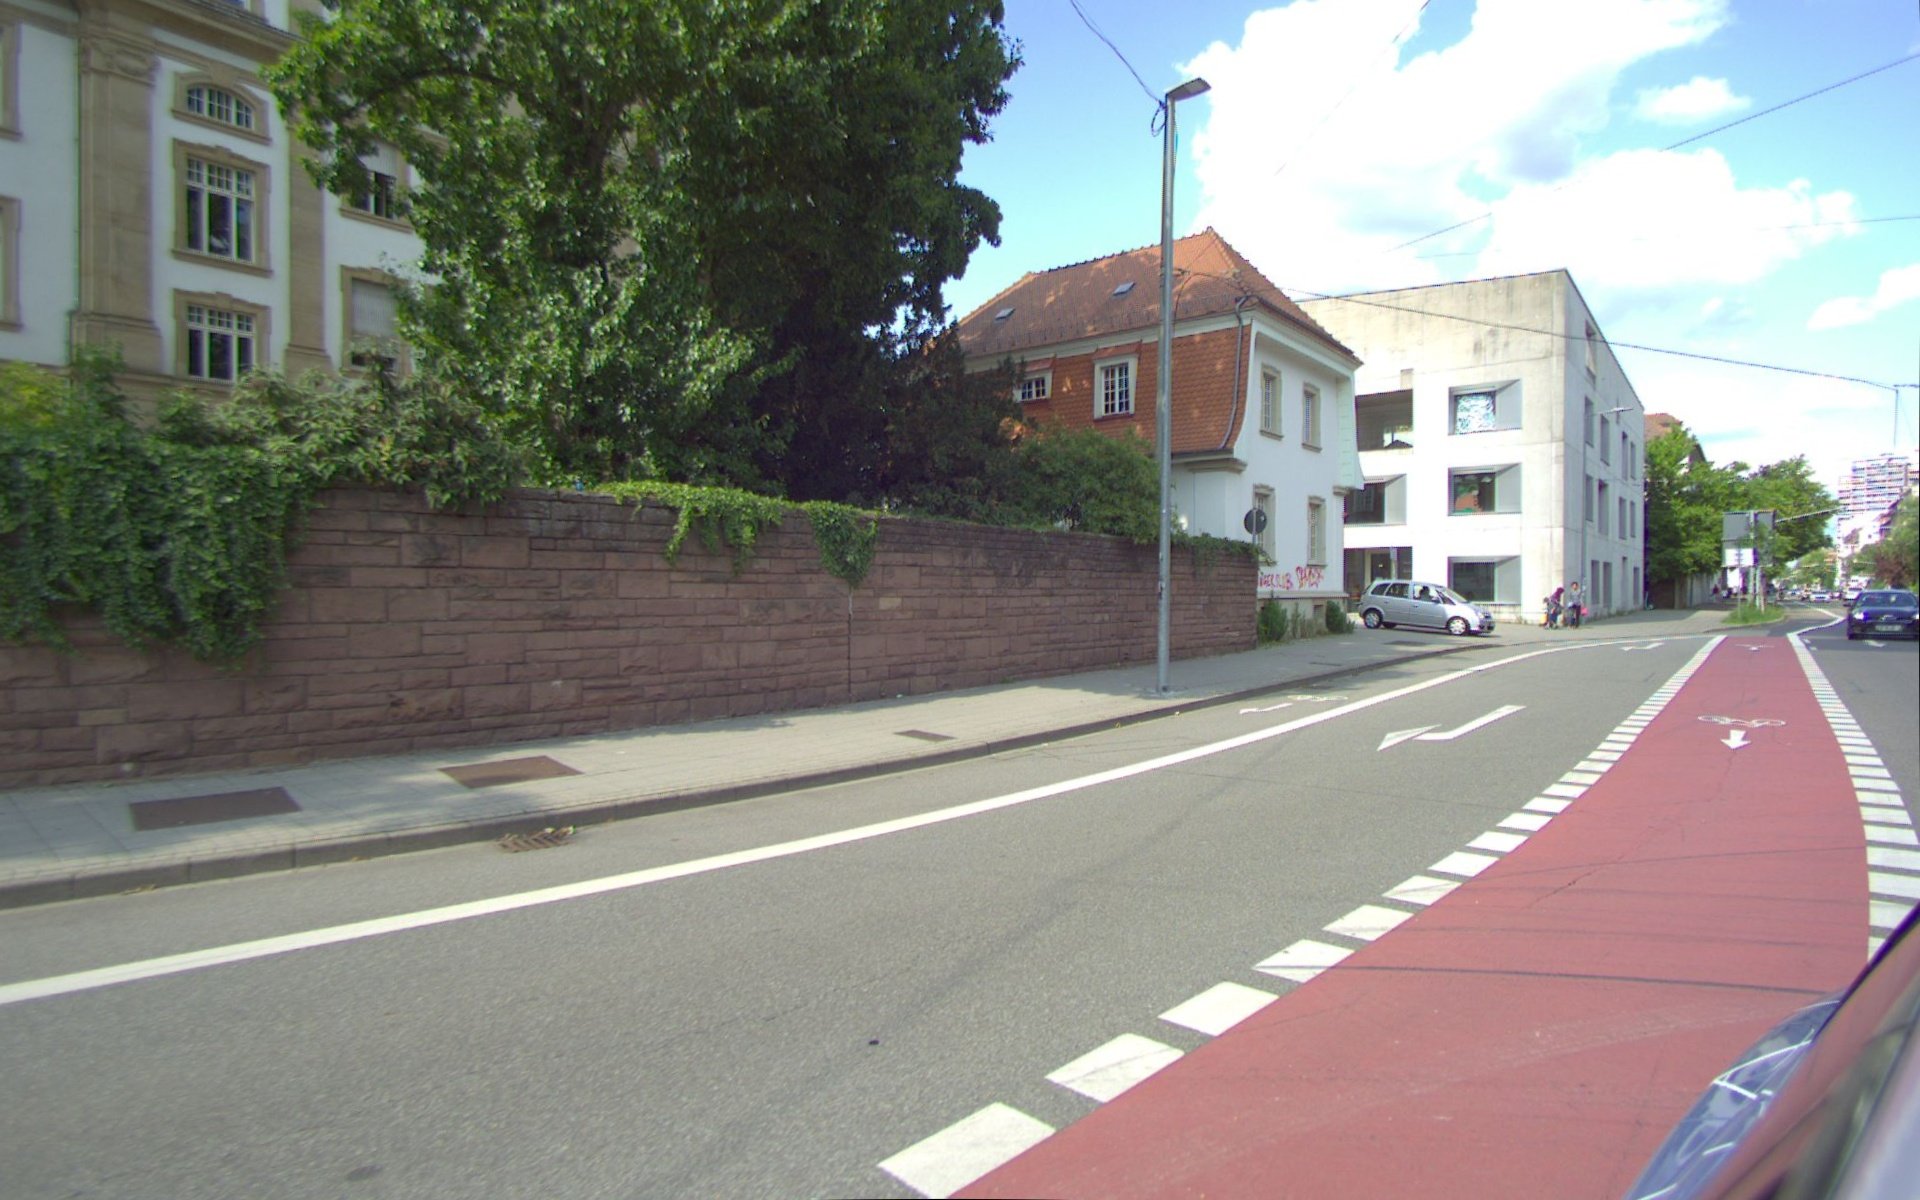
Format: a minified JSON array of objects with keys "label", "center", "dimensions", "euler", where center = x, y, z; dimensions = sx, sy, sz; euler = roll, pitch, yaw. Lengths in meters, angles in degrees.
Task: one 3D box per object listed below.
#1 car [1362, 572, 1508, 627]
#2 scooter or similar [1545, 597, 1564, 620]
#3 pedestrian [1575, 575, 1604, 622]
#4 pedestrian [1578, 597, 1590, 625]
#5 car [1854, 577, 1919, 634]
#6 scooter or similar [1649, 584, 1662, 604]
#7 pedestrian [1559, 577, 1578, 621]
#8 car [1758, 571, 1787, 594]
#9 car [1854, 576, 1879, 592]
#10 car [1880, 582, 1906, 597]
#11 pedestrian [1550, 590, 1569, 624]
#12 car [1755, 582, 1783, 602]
[{"label":"car","center":[14.954,-0.030,31.976],"dimensions":[3.880,1.625,1.638],"euler":[1,0,44]},{"label":"scooter or similar","center":[22.541,0.324,38.381],"dimensions":[0.543,0.810,0.266],"euler":[4,1,17]},{"label":"pedestrian","center":[23.802,-0.058,38.271],"dimensions":[0.734,1.746,0.685],"euler":[2,0,-43]},{"label":"pedestrian","center":[23.082,0.396,37.446],"dimensions":[0.341,1.023,0.393],"euler":[2,0,31]},{"label":"car","center":[27.975,0.126,30.299],"dimensions":[1.687,1.597,4.097],"euler":[0,1,40]},{"label":"scooter or similar","center":[41.476,-0.380,60.311],"dimensions":[1.127,1.196,0.323],"euler":[-1,1,-38]},{"label":"pedestrian","center":[22.457,-0.043,37.358],"dimensions":[0.516,1.600,0.543],"euler":[2,0,30]},{"label":"car","center":[69.972,-1.522,87.236],"dimensions":[1.892,1.965,4.882],"euler":[1,1,38]},{"label":"car","center":[115.587,-2.013,129.076],"dimensions":[1.893,1.931,5.311],"euler":[1,1,37]},{"label":"car","center":[96.948,-1.129,105.179],"dimensions":[1.686,1.419,3.876],"euler":[3,3,38]},{"label":"pedestrian","center":[21.838,0.258,36.861],"dimensions":[0.415,1.216,0.405],"euler":[2,0,7]},{"label":"car","center":[64.754,-0.636,81.059],"dimensions":[1.704,1.517,4.722],"euler":[1,1,38]}]
